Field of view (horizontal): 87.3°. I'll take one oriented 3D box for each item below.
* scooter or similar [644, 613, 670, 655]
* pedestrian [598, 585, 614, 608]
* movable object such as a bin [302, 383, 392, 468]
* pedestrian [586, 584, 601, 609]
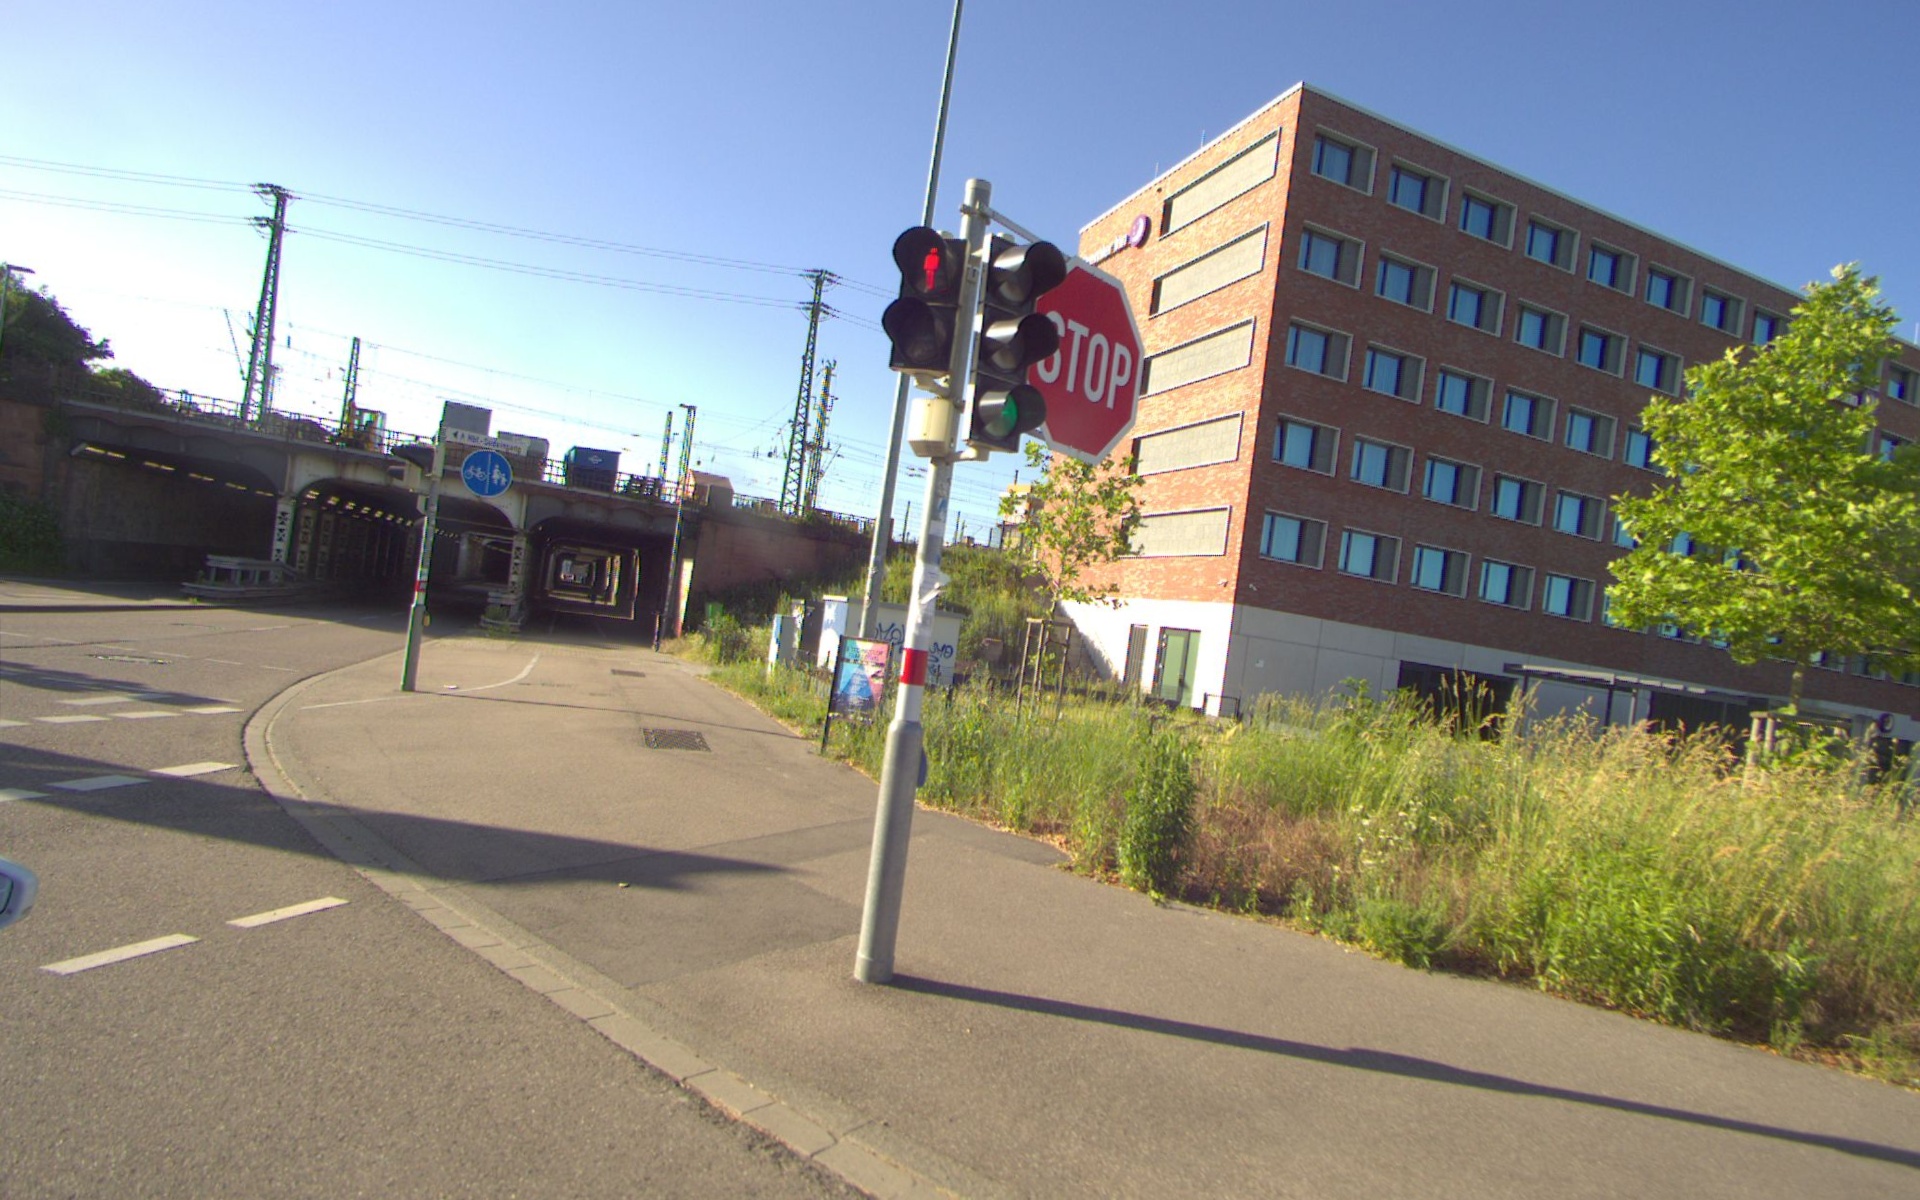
[{"bbox_3d":[-9.441,1.046,31.334,0.532,1.210,1.285,8,-2,-21],"label":"scooter or similar"},{"bbox_3d":[-27.233,-0.280,77.412,0.907,1.677,0.881,5,0,-25],"label":"pedestrian"},{"bbox_3d":[-24.769,-6.992,40.860,1.973,2.250,4.812,9,-3,-20],"label":"movable object such as a bin"},{"bbox_3d":[-28.114,-0.262,77.166,0.871,1.858,0.917,5,0,-25],"label":"pedestrian"}]
